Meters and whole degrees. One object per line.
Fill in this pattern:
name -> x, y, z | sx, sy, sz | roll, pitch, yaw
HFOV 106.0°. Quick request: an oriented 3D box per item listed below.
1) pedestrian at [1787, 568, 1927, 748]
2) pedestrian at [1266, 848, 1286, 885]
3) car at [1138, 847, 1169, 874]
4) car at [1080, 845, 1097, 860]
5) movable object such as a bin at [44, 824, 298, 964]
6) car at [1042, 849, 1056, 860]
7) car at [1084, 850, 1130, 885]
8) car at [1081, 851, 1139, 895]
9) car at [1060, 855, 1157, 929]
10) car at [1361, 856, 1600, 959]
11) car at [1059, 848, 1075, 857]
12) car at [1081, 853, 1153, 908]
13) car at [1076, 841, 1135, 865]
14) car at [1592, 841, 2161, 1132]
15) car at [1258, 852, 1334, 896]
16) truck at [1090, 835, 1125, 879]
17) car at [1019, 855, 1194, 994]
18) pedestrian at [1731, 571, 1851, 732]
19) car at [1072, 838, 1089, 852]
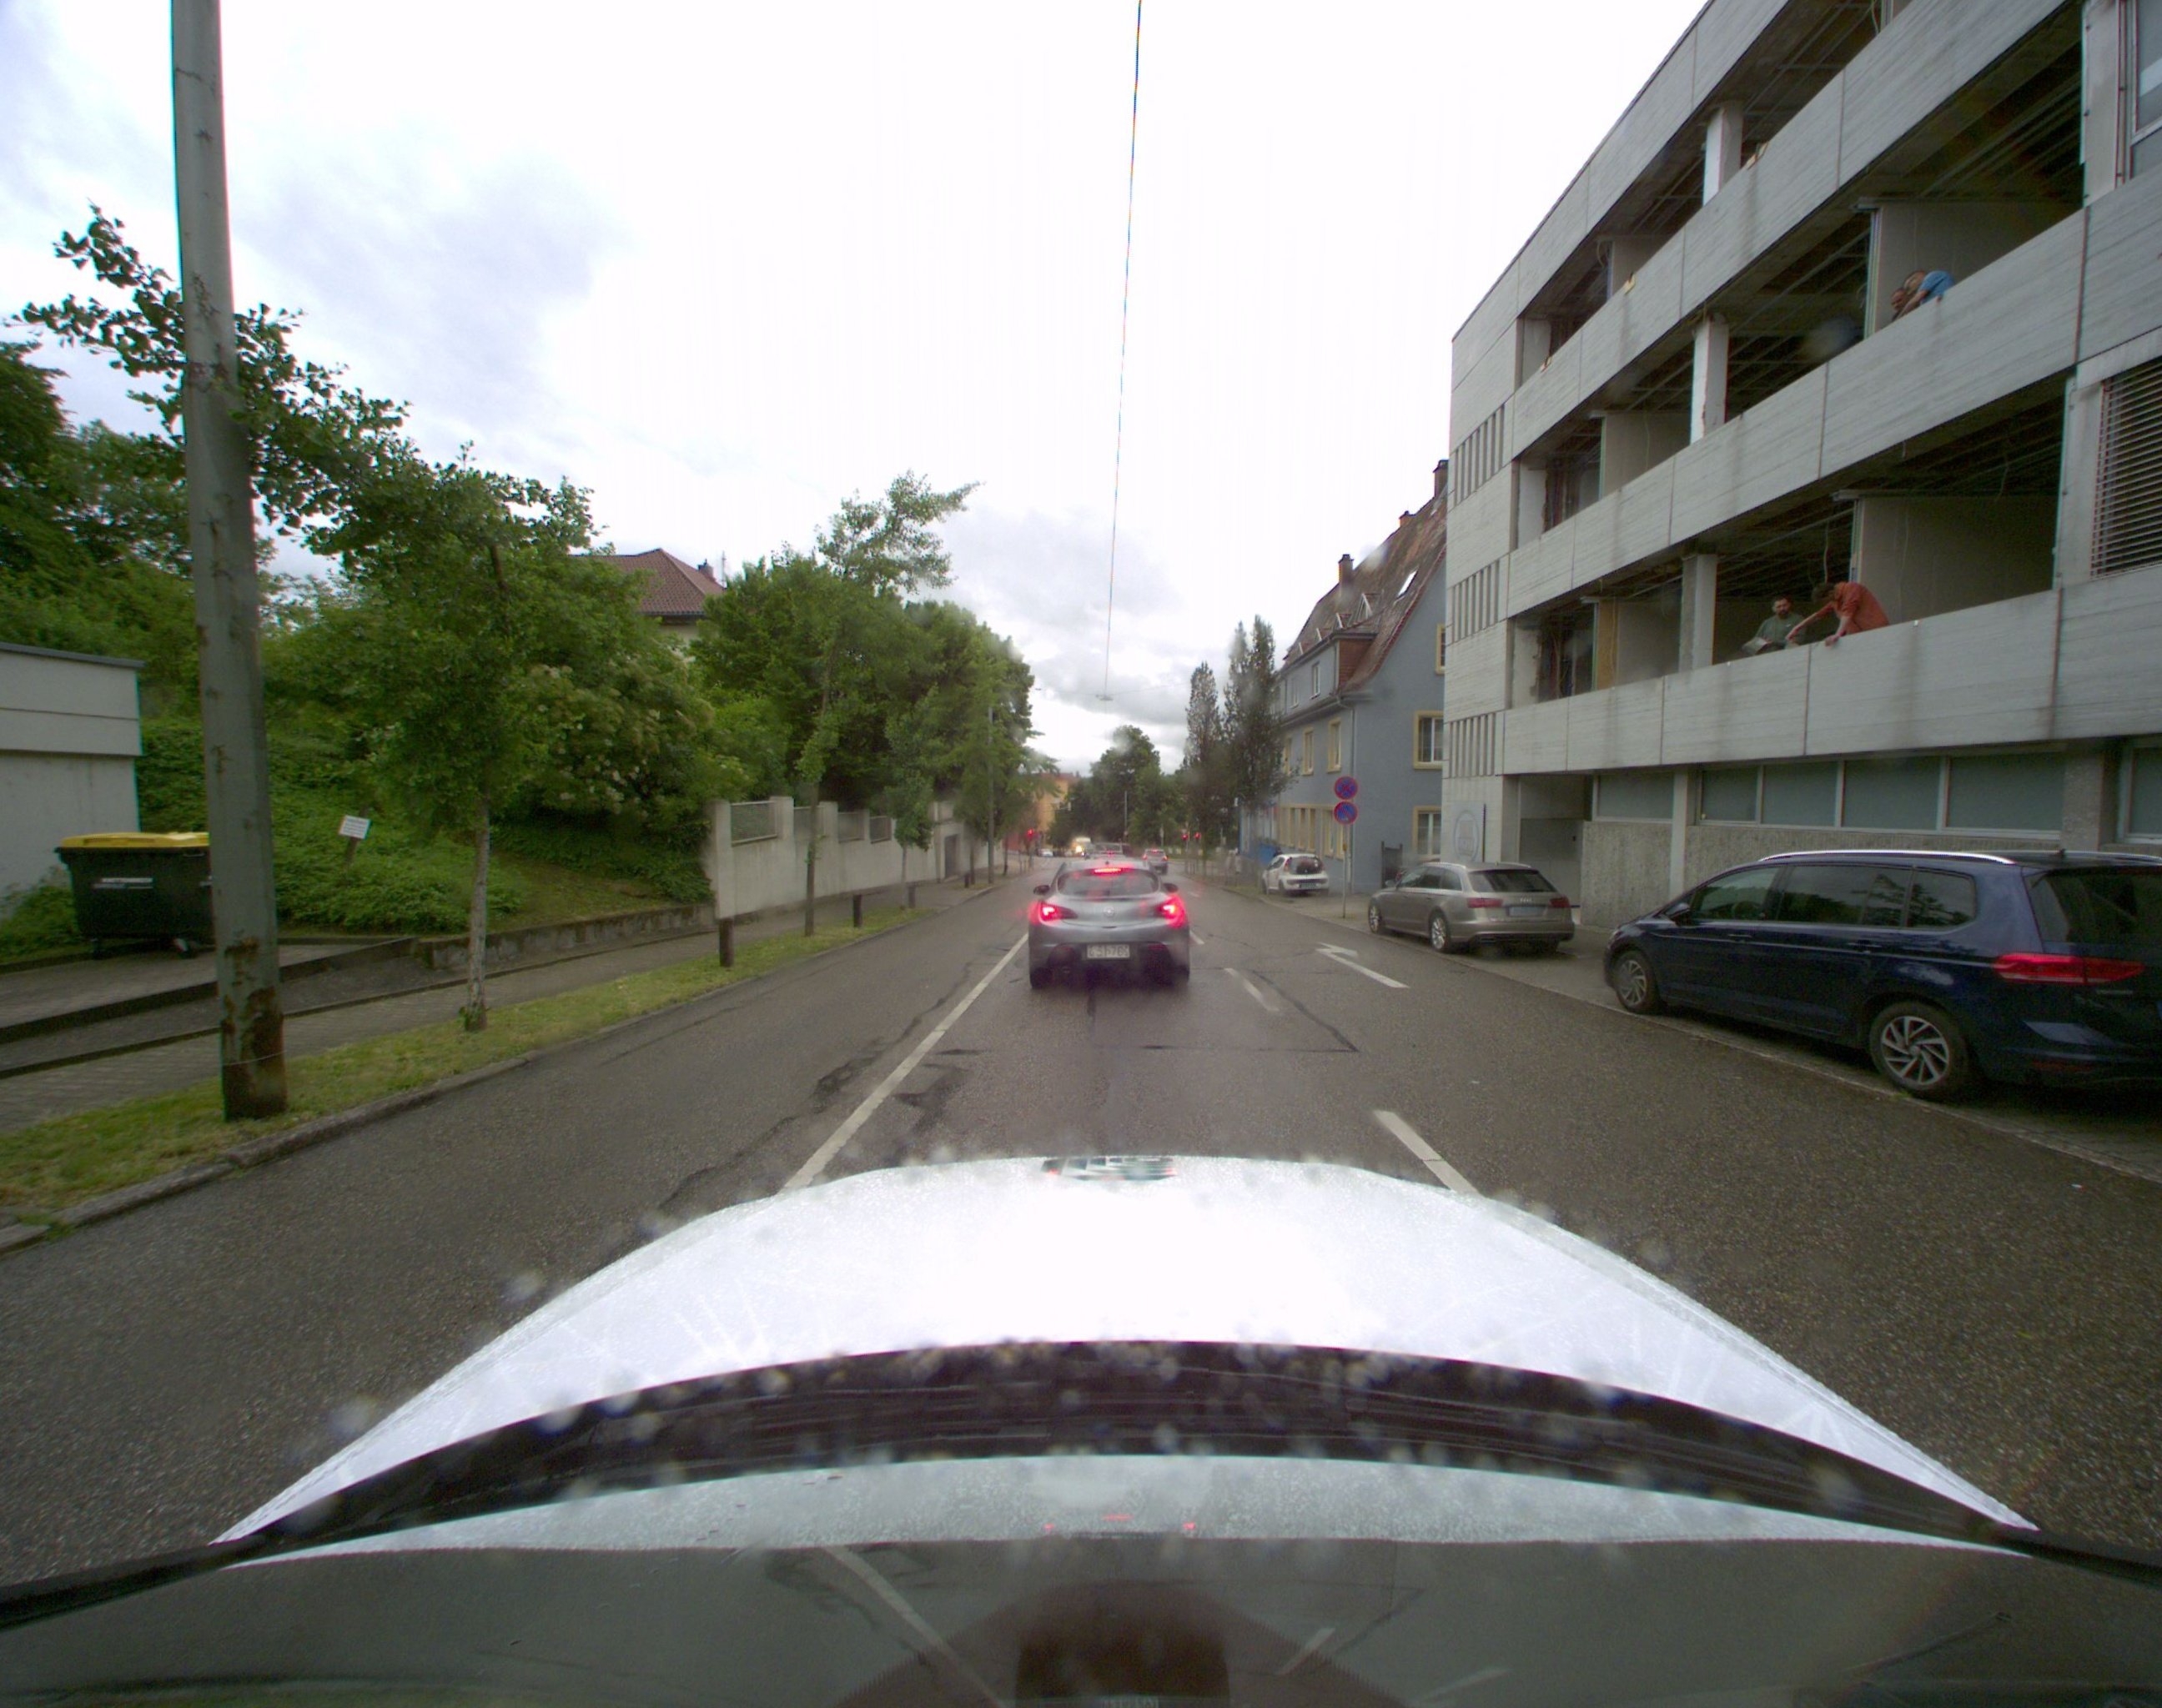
pedestrian -> 9.562, -2.383, 10.080 | 0.904, 2.014, 0.861 | 0, -1, 1
pedestrian -> 9.179, 0.598, 38.375 | 0.780, 1.729, 0.651 | 1, 0, 1
car -> 4.901, 0.410, 55.589 | 1.717, 1.714, 3.879 | -1, 0, 0
car -> 0.839, -0.154, 93.204 | 1.864, 1.638, 3.880 | -1, 0, 1
movable object such as a bin -> -10.017, 0.402, 9.070 | 1.296, 1.363, 1.225 | 0, 6, -5
car -> -4.487, 0.015, 114.579 | 1.717, 1.460, 3.880 | -1, 0, 1
car -> 1.166, 0.580, 37.633 | 1.955, 1.448, 4.305 | 1, 0, 1
car -> 1.029, 0.644, 29.970 | 1.955, 1.448, 4.305 | 1, 0, 1
car -> 0.592, 0.779, 18.870 | 1.955, 1.448, 4.305 | 1, 0, 1
car -> 6.640, 0.787, 14.202 | 1.956, 1.448, 4.526 | 0, 0, 0
car -> -2.428, -0.197, 140.050 | 1.726, 1.543, 3.859 | -1, 0, -16
car -> 1.027, 0.734, 24.585 | 1.955, 1.448, 4.305 | 1, 0, 1
car -> 1.995, -0.074, 66.593 | 4.468, 1.828, 1.737 | -2, -1, -27
car -> 6.307, 0.721, 6.596 | 1.723, 1.599, 4.160 | -1, 0, 0
car -> 7.573, 0.655, 29.072 | 1.717, 1.448, 3.880 | -1, 0, 1
truck -> 1.503, 0.161, 47.634 | 1.955, 2.429, 4.936 | 1, 0, 1
car -> 0.268, 0.746, 10.486 | 1.831, 1.434, 3.879 | 0, 0, 0
pedestrian -> 9.756, -2.755, 11.231 | 0.904, 2.014, 0.861 | 0, -1, 1
car -> -0.079, -1.070, 100.872 | 1.721, 1.638, 3.870 | -1, 0, -7
